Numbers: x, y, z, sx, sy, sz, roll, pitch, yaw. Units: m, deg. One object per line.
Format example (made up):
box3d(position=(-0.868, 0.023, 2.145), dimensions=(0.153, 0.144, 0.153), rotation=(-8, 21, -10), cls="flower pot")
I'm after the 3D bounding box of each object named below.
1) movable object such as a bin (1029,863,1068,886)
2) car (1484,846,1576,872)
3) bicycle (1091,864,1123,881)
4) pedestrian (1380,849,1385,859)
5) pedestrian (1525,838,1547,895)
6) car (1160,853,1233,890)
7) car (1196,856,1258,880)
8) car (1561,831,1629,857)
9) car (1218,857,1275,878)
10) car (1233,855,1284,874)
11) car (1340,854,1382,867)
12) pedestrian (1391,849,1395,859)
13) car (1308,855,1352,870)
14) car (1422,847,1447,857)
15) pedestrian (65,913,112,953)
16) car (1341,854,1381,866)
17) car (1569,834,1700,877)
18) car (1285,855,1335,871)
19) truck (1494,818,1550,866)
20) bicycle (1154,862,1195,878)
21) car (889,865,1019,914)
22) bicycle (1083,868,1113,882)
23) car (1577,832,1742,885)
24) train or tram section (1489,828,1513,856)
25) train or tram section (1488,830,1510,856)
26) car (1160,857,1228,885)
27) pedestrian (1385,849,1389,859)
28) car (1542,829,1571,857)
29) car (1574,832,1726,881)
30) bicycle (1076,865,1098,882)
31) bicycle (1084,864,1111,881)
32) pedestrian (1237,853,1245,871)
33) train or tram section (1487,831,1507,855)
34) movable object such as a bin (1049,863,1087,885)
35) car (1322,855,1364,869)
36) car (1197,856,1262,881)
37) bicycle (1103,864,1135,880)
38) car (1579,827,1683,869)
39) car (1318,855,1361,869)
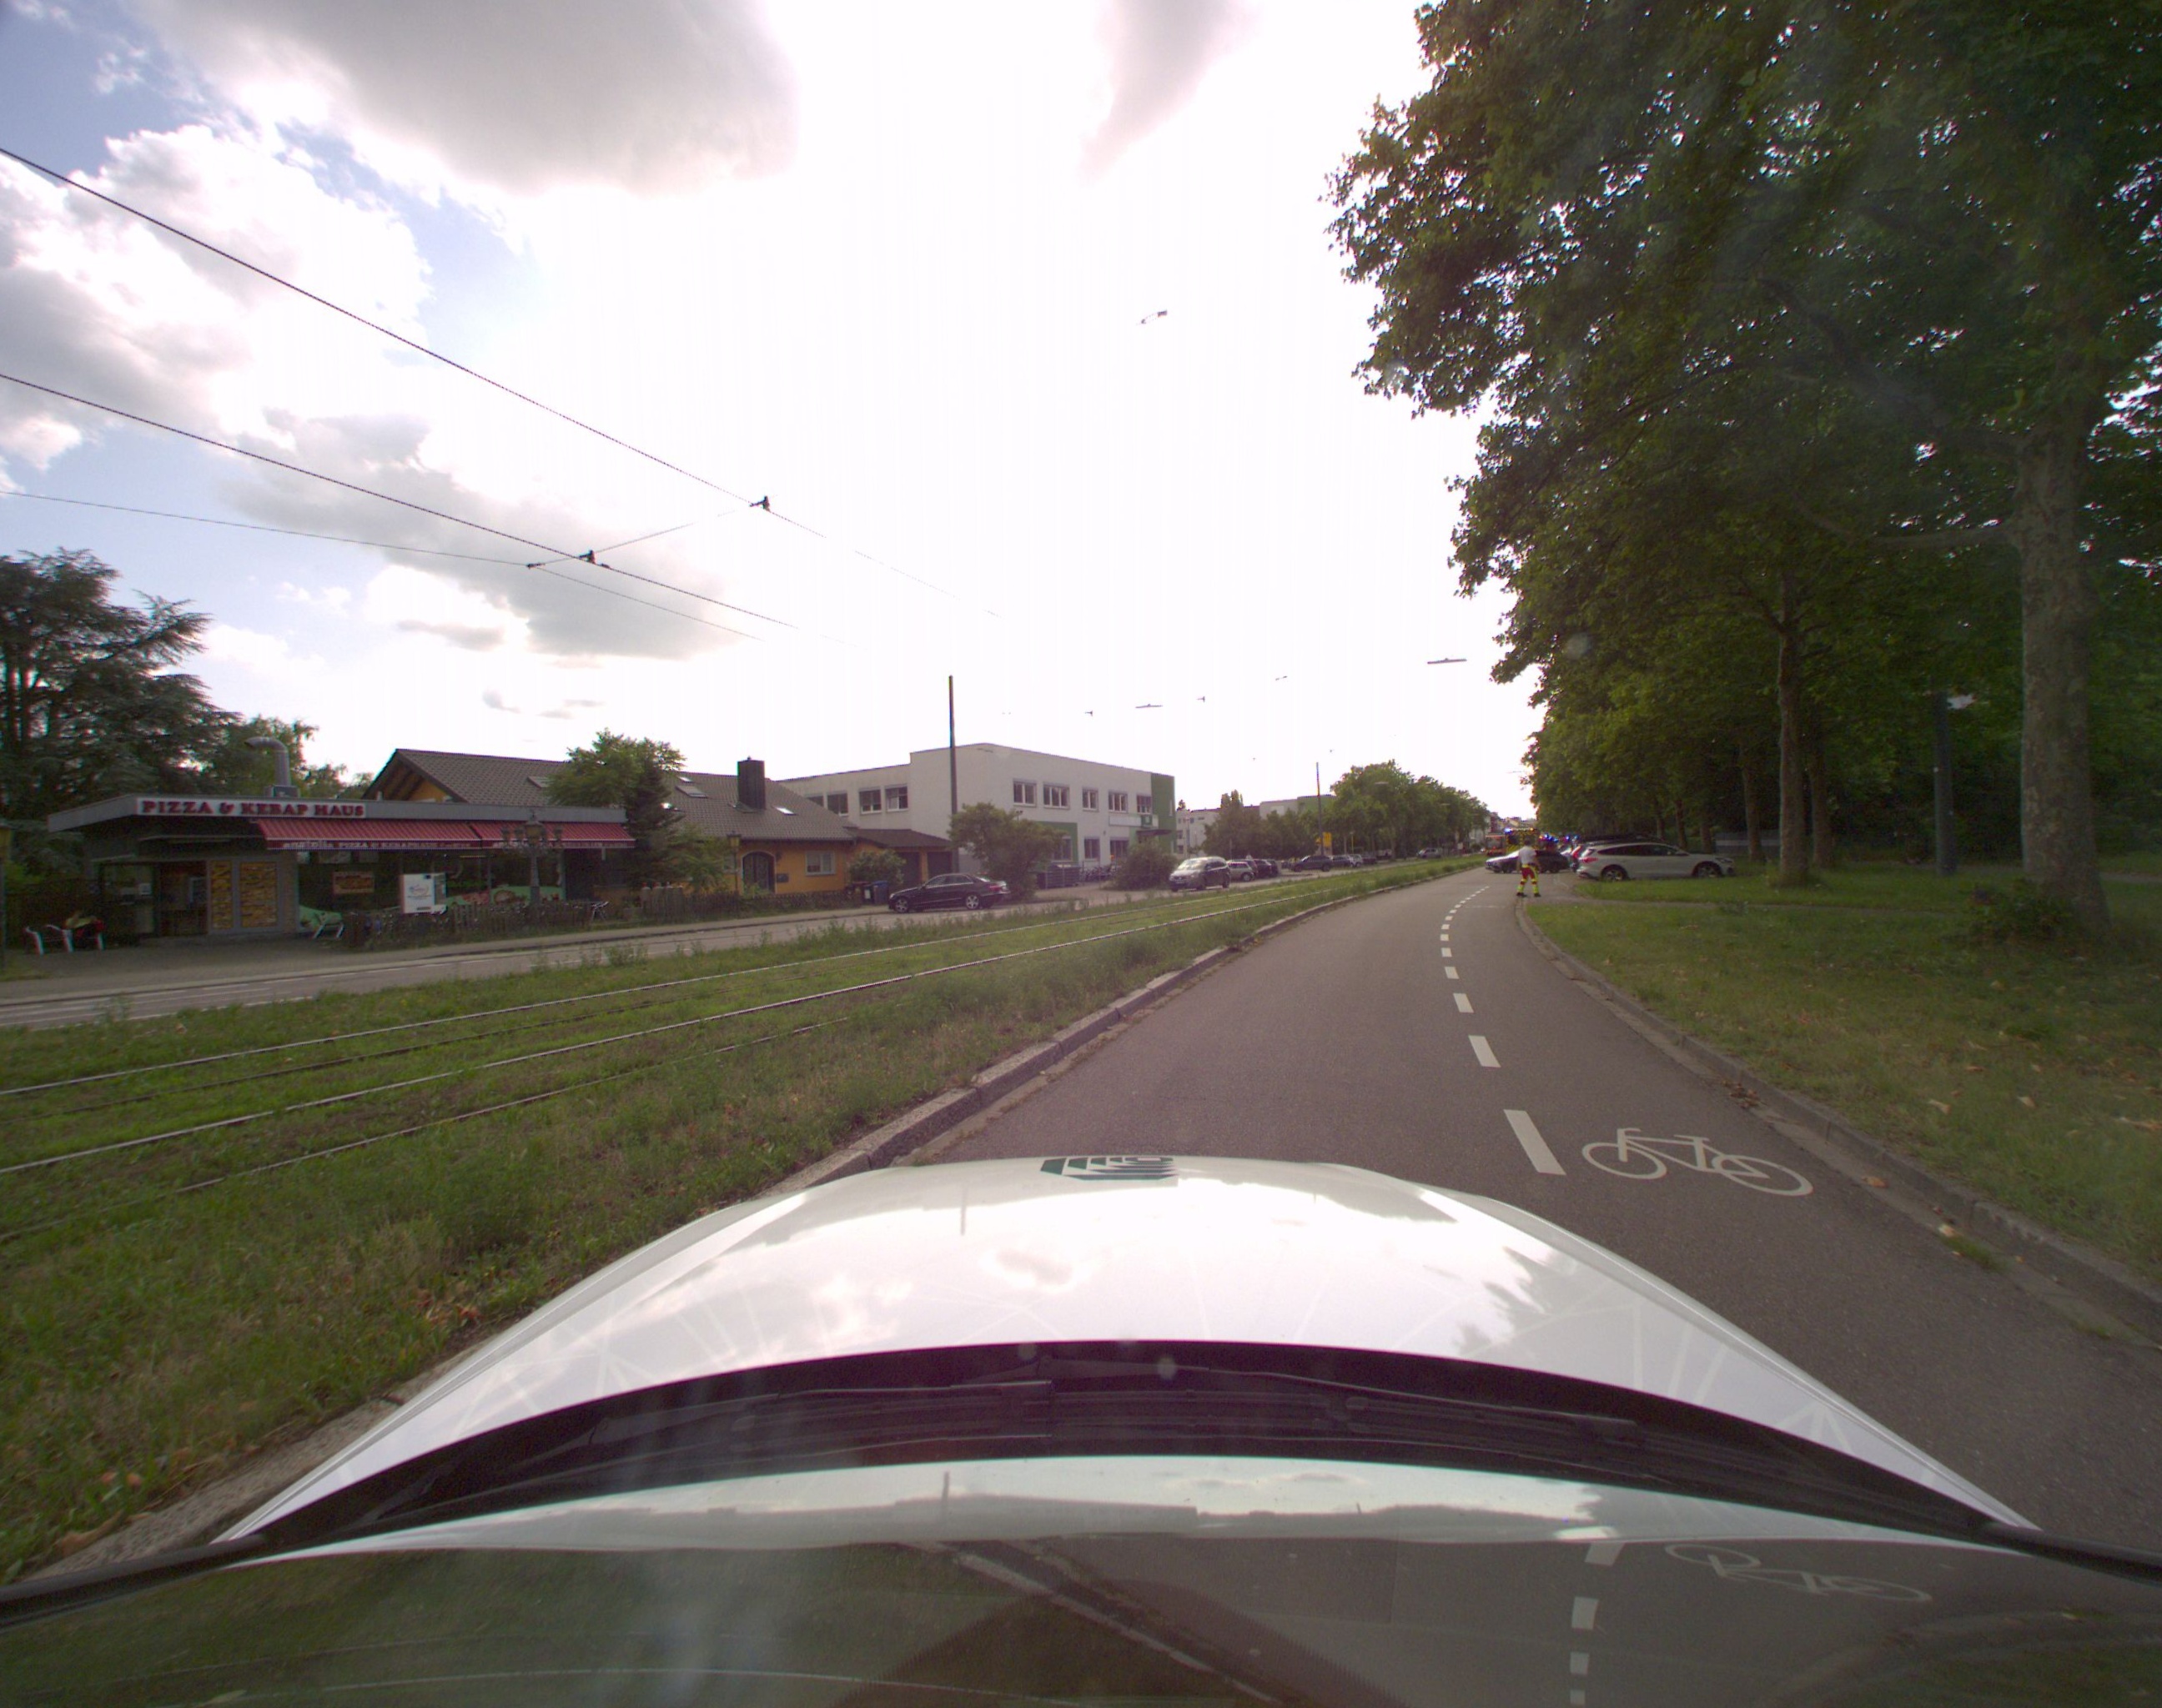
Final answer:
box3d(position=(-1.997, 1.279, 50.298), dimensions=(1.358, 1.326, 2.131), rotation=(-3, -1, 34), cls="movable object such as a bin")
box3d(position=(27.220, 0.300, 49.506), dimensions=(4.565, 1.393, 1.845), rotation=(-2, -1, 8), cls="car")
box3d(position=(1.943, 1.387, 61.385), dimensions=(2.321, 1.166, 0.765), rotation=(-3, -1, 36), cls="bicycle")
box3d(position=(51.459, 0.000, 139.106), dimensions=(0.614, 1.729, 0.650), rotation=(-1, -1, 30), cls="pedestrian")
box3d(position=(13.519, 0.371, 24.202), dimensions=(0.488, 1.684, 0.591), rotation=(-2, -1, 27), cls="pedestrian")
box3d(position=(6.119, 0.903, 42.719), dimensions=(1.974, 1.722, 4.771), rotation=(-3, -1, 32), cls="car")
box3d(position=(10.814, 1.040, 60.412), dimensions=(4.283, 1.629, 1.903), rotation=(-2, -1, 2), cls="car")
box3d(position=(69.241, -1.338, 109.897), dimensions=(7.366, 3.330, 2.992), rotation=(0, 0, 26), cls="car")
box3d(position=(12.744, 1.056, 62.895), dimensions=(4.139, 1.504, 1.862), rotation=(-2, -1, 3), cls="car")
box3d(position=(14.938, 0.871, 68.702), dimensions=(4.133, 1.504, 1.865), rotation=(-2, -1, 8), cls="car")
box3d(position=(32.689, 0.730, 95.127), dimensions=(4.276, 1.364, 1.906), rotation=(-2, -1, 8), cls="car")
box3d(position=(53.252, -0.012, 138.915), dimensions=(0.614, 1.729, 0.650), rotation=(-1, -1, 30), cls="pedestrian")
box3d(position=(26.615, 0.890, 87.193), dimensions=(4.276, 1.364, 1.906), rotation=(-2, -1, 8), cls="car")
box3d(position=(67.108, -0.334, 154.826), dimensions=(3.975, 1.838, 1.821), rotation=(0, 0, -1), cls="car")
box3d(position=(-25.679, 2.033, 21.076), dimensions=(0.767, 0.929, 0.732), rotation=(-1, -1, 36), cls="pedestrian")
box3d(position=(34.243, 0.737, 99.580), dimensions=(4.276, 1.364, 1.906), rotation=(-2, -1, 8), cls="car")
box3d(position=(24.035, 0.110, 35.593), dimensions=(4.485, 1.644, 2.012), rotation=(-3, -2, 29), cls="car")
box3d(position=(21.881, 0.882, 77.967), dimensions=(4.278, 1.364, 1.906), rotation=(-2, -1, 7), cls="car")
box3d(position=(33.625, -0.890, 61.931), dimensions=(3.152, 3.317, 7.571), rotation=(-3, -1, 32), cls="truck")
box3d(position=(7.762, 1.348, 67.390), dimensions=(3.104, 1.166, 1.149), rotation=(-3, -1, 26), cls="bicycle")
box3d(position=(-4.940, 1.378, 32.040), dimensions=(4.536, 1.580, 2.006), rotation=(-3, -1, 10), cls="car")
box3d(position=(1.282, 1.587, 60.712), dimensions=(2.131, 0.970, 0.735), rotation=(-3, -1, 35), cls="bicycle")
box3d(position=(20.224, 0.192, 28.768), dimensions=(4.485, 1.644, 2.012), rotation=(-3, -2, 29), cls="car")
box3d(position=(58.297, -1.662, 113.202), dimensions=(2.465, 3.596, 7.464), rotation=(-3, -1, 25), cls="train or tram section")
box3d(position=(61.478, -1.660, 119.931), dimensions=(2.465, 3.596, 7.465), rotation=(-3, -1, 25), cls="train or tram section")
box3d(position=(7.631, 1.140, 55.197), dimensions=(4.290, 1.629, 1.900), rotation=(-2, -1, -3), cls="car")
box3d(position=(52.047, -0.006, 138.475), dimensions=(0.614, 1.729, 0.650), rotation=(-1, -1, 31), cls="pedestrian")
box3d(position=(58.658, -1.316, 100.589), dimensions=(2.937, 3.330, 7.505), rotation=(-1, 0, 29), cls="car")
box3d(position=(21.506, 0.128, 31.032), dimensions=(4.485, 1.644, 2.012), rotation=(-3, -2, 29), cls="car")
box3d(position=(0.423, 1.420, 59.426), dimensions=(0.710, 1.166, 1.601), rotation=(-2, -1, -43), cls="bicycle")
box3d(position=(1.164, 1.315, 57.849), dimensions=(1.774, 1.081, 0.741), rotation=(-3, -1, 28), cls="bicycle")
box3d(position=(15.094, 0.779, 76.779), dimensions=(0.590, 1.675, 0.544), rotation=(-3, -1, 22), cls="pedestrian")
box3d(position=(64.667, -1.654, 126.639), dimensions=(2.465, 3.596, 7.465), rotation=(-3, -1, 25), cls="train or tram section")
box3d(position=(-0.809, 1.278, 52.155), dimensions=(1.358, 1.326, 2.145), rotation=(-3, -1, 34), cls="movable object such as a bin")
box3d(position=(29.669, 0.888, 92.297), dimensions=(4.276, 1.364, 1.906), rotation=(-2, -1, 8), cls="car")
box3d(position=(10.506, 1.053, 57.896), dimensions=(4.283, 1.629, 1.903), rotation=(-2, -1, 2), cls="car")
box3d(position=(2.906, 1.389, 62.149), dimensions=(2.386, 1.166, 0.753), rotation=(-3, -1, 38), cls="bicycle")
box3d(position=(29.491, -0.263, 43.864), dimensions=(4.498, 2.014, 2.013), rotation=(-3, -2, 31), cls="car")
box3d(position=(28.527, 0.886, 89.945), dimensions=(4.276, 1.364, 1.906), rotation=(-2, -1, 8), cls="car")
